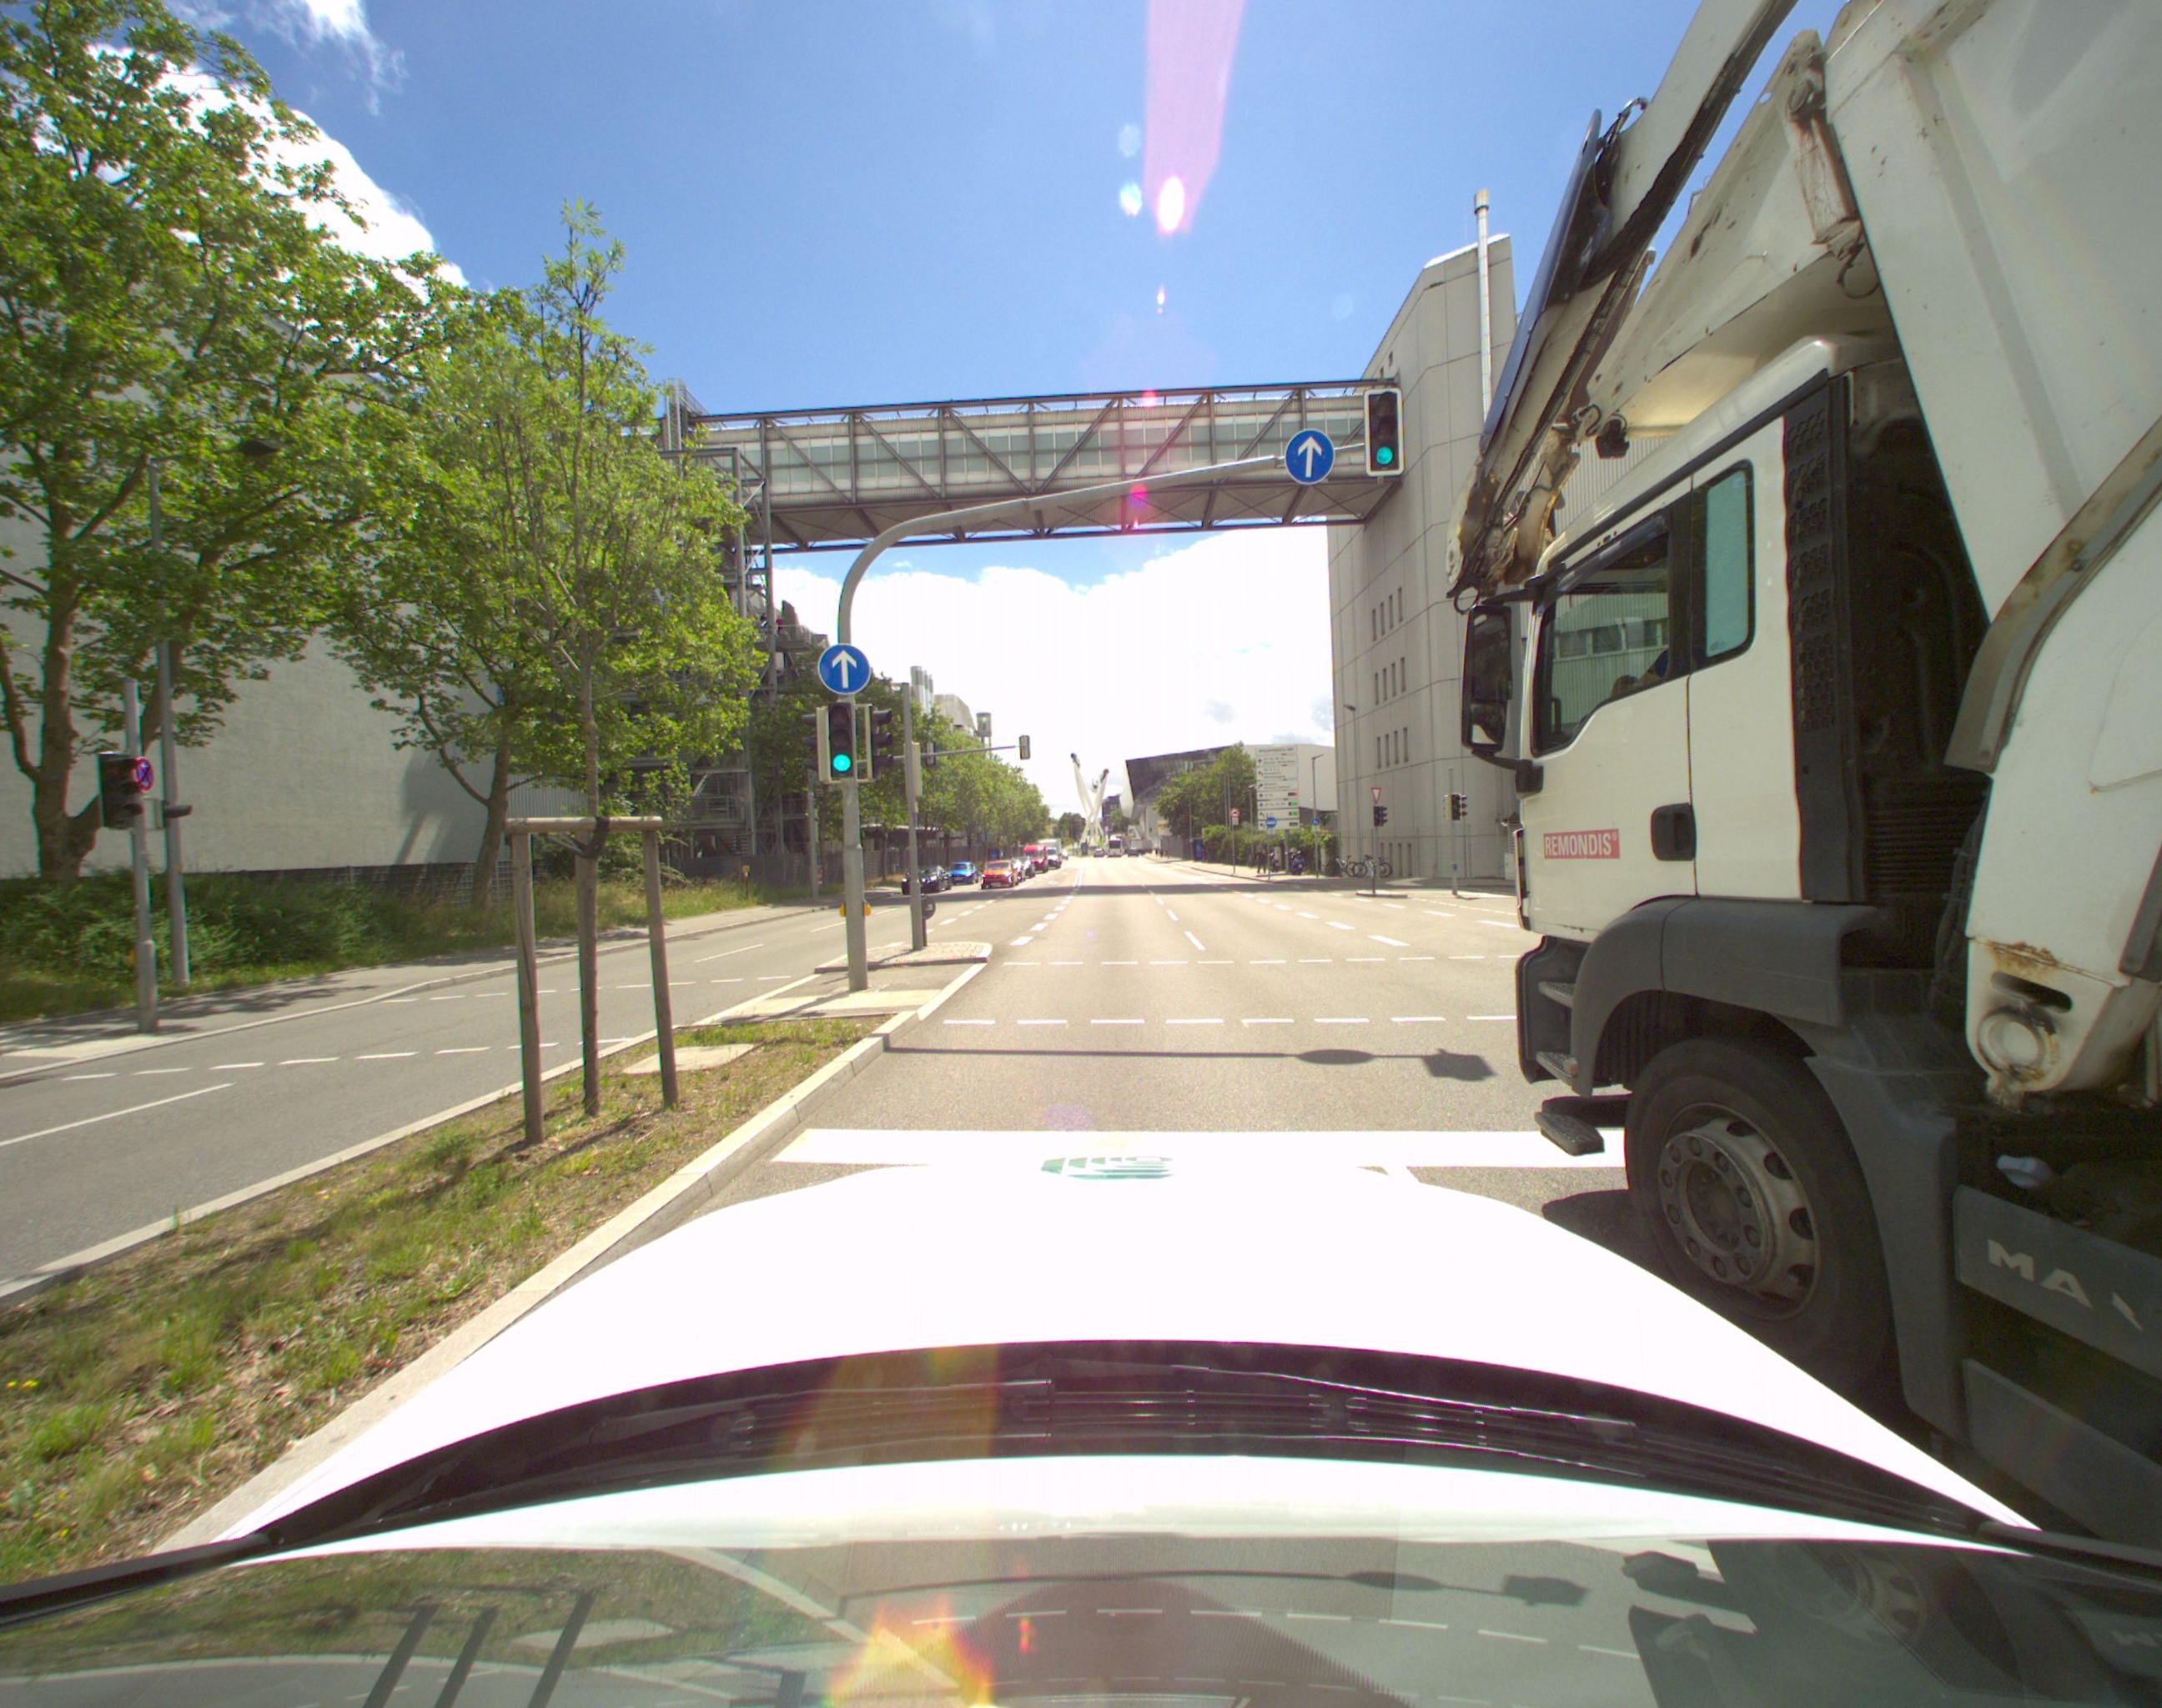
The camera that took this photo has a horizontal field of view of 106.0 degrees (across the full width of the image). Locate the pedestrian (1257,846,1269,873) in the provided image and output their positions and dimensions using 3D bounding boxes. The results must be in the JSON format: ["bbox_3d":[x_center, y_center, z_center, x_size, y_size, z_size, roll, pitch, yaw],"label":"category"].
[{"bbox_3d":[11.209,0.315,50.201,0.532,1.640,0.657,0,-1,-4],"label":"pedestrian"}]

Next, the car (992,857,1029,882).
[{"bbox_3d":[-4.428,0.955,51.794,1.762,1.420,3.704,-4,0,3],"label":"car"}]

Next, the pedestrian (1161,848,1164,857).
[{"bbox_3d":[12.720,-0.266,127.255,0.384,1.421,0.424,0,-1,2],"label":"pedestrian"}]

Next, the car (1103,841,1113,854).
[{"bbox_3d":[5.776,-1.397,173.693,1.836,2.624,4.003,0,-1,3],"label":"car"}]

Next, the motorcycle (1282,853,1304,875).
[{"bbox_3d":[11.658,0.552,44.852,0.418,1.166,1.951,0,-1,-9],"label":"motorcycle"}]

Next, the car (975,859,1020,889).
[{"bbox_3d":[-4.438,1.037,43.765,1.762,1.420,3.704,-4,0,3],"label":"car"}]

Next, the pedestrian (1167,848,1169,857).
[{"bbox_3d":[14.039,-0.197,131.697,0.384,1.421,0.424,0,-1,2],"label":"pedestrian"}]

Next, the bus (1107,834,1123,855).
[{"bbox_3d":[6.336,-1.788,150.261,2.776,3.686,6.947,0,-1,3],"label":"bus"}]

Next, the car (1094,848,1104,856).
[{"bbox_3d":[3.327,-0.362,148.667,1.551,1.273,3.704,-4,0,3],"label":"car"}]

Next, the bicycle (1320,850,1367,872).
[{"bbox_3d":[13.090,0.340,40.663,2.196,1.086,0.480,-1,-1,37],"label":"bicycle"}]

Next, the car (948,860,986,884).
[{"bbox_3d":[-7.459,1.169,53.371,1.720,1.382,3.704,-4,0,3],"label":"car"}]

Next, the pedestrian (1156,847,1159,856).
[{"bbox_3d":[12.319,-0.420,131.298,0.384,1.421,0.424,0,-1,2],"label":"pedestrian"}]

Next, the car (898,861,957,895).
[{"bbox_3d":[-8.039,1.218,43.006,1.910,1.488,4.775,-4,0,3],"label":"car"}]

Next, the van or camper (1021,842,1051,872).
[{"bbox_3d":[-3.959,0.249,72.345,2.038,2.466,5.598,-1,0,3],"label":"van or camper"}]

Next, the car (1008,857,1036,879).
[{"bbox_3d":[-4.302,0.998,59.701,1.551,1.448,3.775,-4,0,3],"label":"car"}]

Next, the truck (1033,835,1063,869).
[{"bbox_3d":[-3.396,-0.174,85.232,2.581,3.324,7.083,0,-1,3],"label":"truck"}]

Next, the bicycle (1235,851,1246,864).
[{"bbox_3d":[12.735,0.264,65.089,0.417,1.022,1.911,0,-1,-2],"label":"bicycle"}]

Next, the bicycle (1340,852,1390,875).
[{"bbox_3d":[13.654,0.460,39.220,2.196,1.086,0.480,-1,-1,37],"label":"bicycle"}]

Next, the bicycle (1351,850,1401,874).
[{"bbox_3d":[13.885,0.391,38.366,2.166,1.086,0.480,-1,-1,37],"label":"bicycle"}]

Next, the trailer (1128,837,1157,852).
[{"bbox_3d":[13.068,-1.903,172.343,3.291,2.995,10.429,-1,-1,21],"label":"trailer"}]

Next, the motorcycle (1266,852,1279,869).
[{"bbox_3d":[12.182,0.411,51.830,0.455,1.022,1.914,0,-1,4],"label":"motorcycle"}]

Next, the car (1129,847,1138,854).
[{"bbox_3d":[9.446,-0.620,146.607,1.551,1.273,3.704,-4,0,3],"label":"car"}]

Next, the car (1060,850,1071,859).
[{"bbox_3d":[-2.540,0.061,136.285,1.551,1.273,3.704,-4,0,3],"label":"car"}]
